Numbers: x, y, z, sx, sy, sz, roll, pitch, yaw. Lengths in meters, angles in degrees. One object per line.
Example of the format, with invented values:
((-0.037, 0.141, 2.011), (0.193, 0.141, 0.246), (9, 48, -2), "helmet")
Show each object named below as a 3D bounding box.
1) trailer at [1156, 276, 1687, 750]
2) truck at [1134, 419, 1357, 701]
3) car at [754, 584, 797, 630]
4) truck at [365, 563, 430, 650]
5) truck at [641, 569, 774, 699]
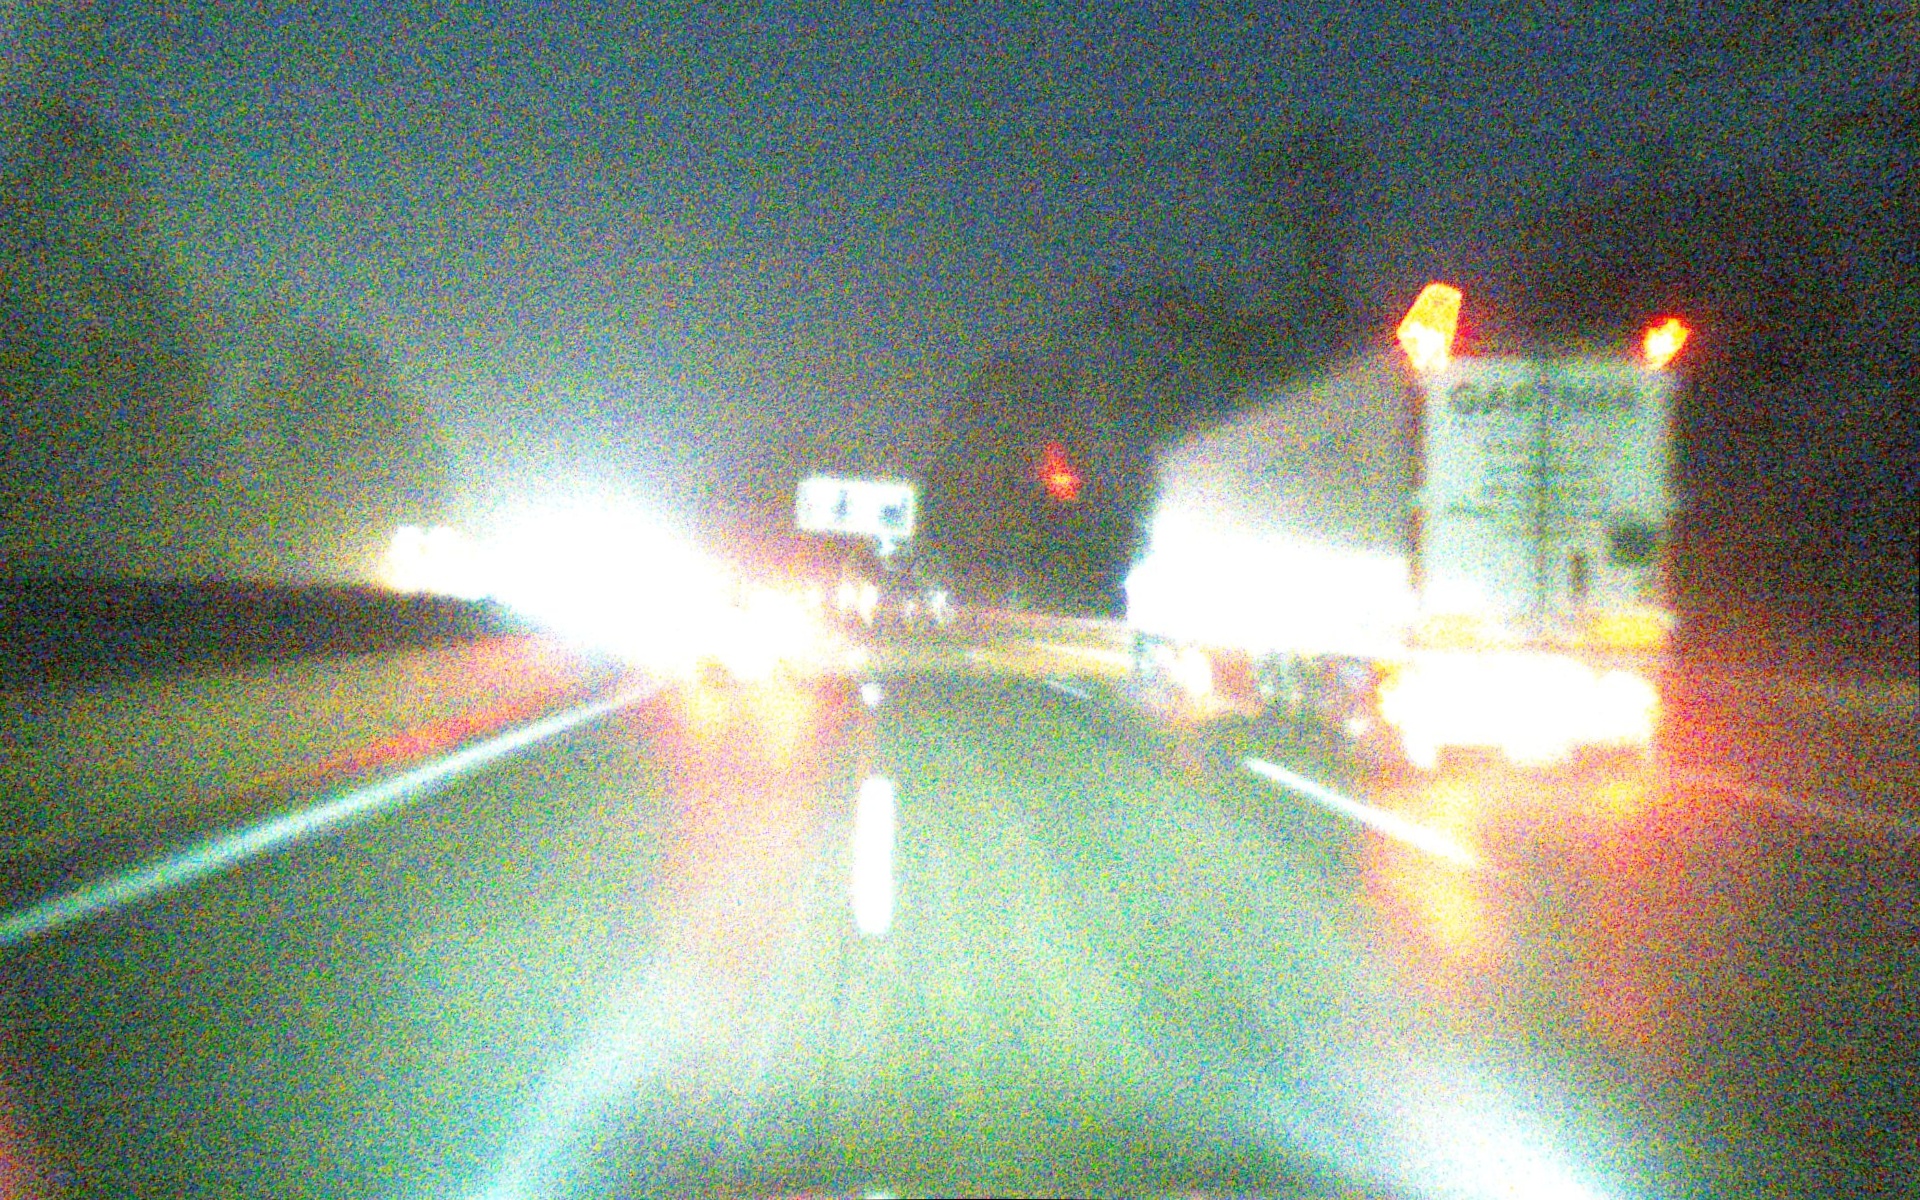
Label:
((5.023, -0.732, 21.811), (2.684, 4.322, 13.363), (-1, -1, -2), "trailer")
((4.665, -0.627, 28.013), (2.656, 4.315, 5.290), (0, 0, -3), "truck")
((-9.455, 0.340, 85.000), (1.955, 2.048, 3.997), (4, 1, -5), "car")
((-35.825, 0.343, 105.462), (2.702, 5.185, 5.869), (4, 1, -10), "truck")
((-4.758, 0.540, 32.104), (2.103, 2.113, 6.597), (2, 1, -6), "truck")
